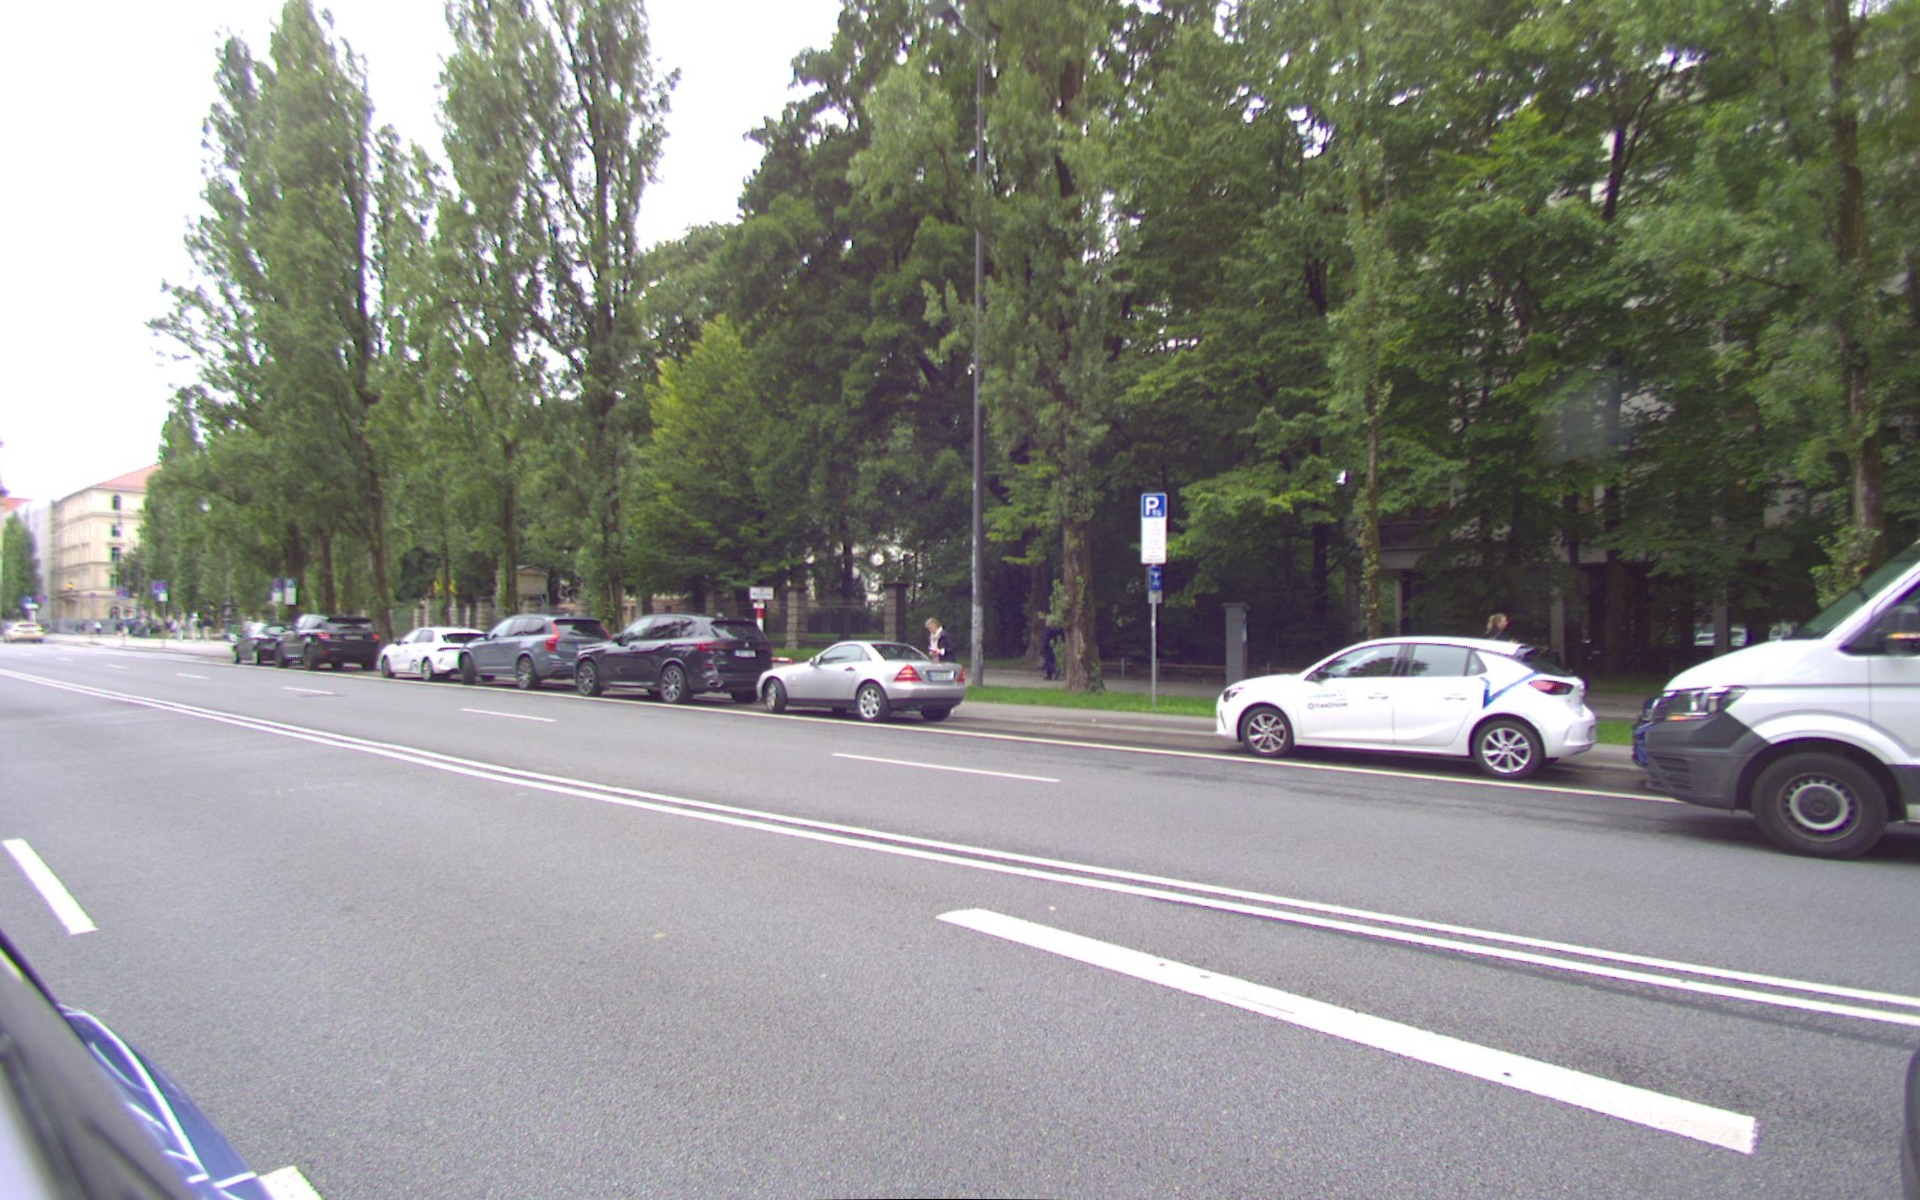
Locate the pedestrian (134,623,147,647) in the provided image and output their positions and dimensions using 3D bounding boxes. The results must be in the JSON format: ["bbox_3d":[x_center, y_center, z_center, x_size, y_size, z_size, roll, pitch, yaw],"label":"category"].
[{"bbox_3d":[-59.592,2.546,73.625,0.581,1.744,0.527,-1,-2,29],"label":"pedestrian"}]

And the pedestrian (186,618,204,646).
[{"bbox_3d":[-50.933,2.147,67.387,1.092,1.847,0.702,-1,-2,39],"label":"pedestrian"}]

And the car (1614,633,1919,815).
[{"bbox_3d":[8.048,1.057,9.009,3.582,1.462,1.692,-1,-4,39],"label":"car"}]

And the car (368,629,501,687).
[{"bbox_3d":[-14.462,1.556,27.782,4.269,1.470,1.687,-1,-4,40],"label":"car"}]

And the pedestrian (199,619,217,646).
[{"bbox_3d":[-50.487,2.190,67.962,1.092,1.786,0.702,-1,-2,39],"label":"pedestrian"}]

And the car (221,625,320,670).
[{"bbox_3d":[-25.575,1.744,37.494,4.386,1.596,1.924,-1,-4,41],"label":"car"}]

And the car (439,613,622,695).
[{"bbox_3d":[-10.500,1.290,24.556,5.175,1.803,1.890,-1,-5,40],"label":"car"}]

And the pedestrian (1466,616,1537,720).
[{"bbox_3d":[9.443,1.159,17.656,0.956,1.755,0.659,-2,-2,41],"label":"pedestrian"}]

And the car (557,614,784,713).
[{"bbox_3d":[-5.942,1.239,20.493,4.890,1.781,1.922,-1,-4,39],"label":"car"}]

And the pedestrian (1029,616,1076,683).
[{"bbox_3d":[2.305,1.211,25.164,0.881,1.611,0.729,-1,-1,41],"label":"pedestrian"}]

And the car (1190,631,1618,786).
[{"bbox_3d":[4.991,1.130,11.696,4.229,1.463,1.753,-1,-4,39],"label":"car"}]

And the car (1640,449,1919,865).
[{"bbox_3d":[8.006,0.354,5.693,6.751,2.502,2.205,-1,-4,40],"label":"car"}]

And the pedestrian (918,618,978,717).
[{"bbox_3d":[-0.210,1.154,17.592,0.751,1.677,0.730,-1,-2,41],"label":"pedestrian"}]

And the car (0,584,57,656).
[{"bbox_3d":[-64.779,1.367,70.337,1.323,4.522,1.783,-28,-36,17],"label":"car"}]

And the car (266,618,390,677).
[{"bbox_3d":[-20.838,1.540,33.302,4.796,1.800,2.025,-1,-4,40],"label":"car"}]

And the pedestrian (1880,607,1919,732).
[{"bbox_3d":[14.032,0.997,14.740,0.889,1.785,0.729,-1,-1,41],"label":"pedestrian"}]

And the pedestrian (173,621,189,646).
[{"bbox_3d":[-52.909,2.265,68.712,0.885,1.713,0.681,-2,-2,39],"label":"pedestrian"}]

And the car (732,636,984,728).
[{"bbox_3d":[-1.817,1.334,17.209,4.230,1.344,1.808,-1,-4,40],"label":"car"}]
